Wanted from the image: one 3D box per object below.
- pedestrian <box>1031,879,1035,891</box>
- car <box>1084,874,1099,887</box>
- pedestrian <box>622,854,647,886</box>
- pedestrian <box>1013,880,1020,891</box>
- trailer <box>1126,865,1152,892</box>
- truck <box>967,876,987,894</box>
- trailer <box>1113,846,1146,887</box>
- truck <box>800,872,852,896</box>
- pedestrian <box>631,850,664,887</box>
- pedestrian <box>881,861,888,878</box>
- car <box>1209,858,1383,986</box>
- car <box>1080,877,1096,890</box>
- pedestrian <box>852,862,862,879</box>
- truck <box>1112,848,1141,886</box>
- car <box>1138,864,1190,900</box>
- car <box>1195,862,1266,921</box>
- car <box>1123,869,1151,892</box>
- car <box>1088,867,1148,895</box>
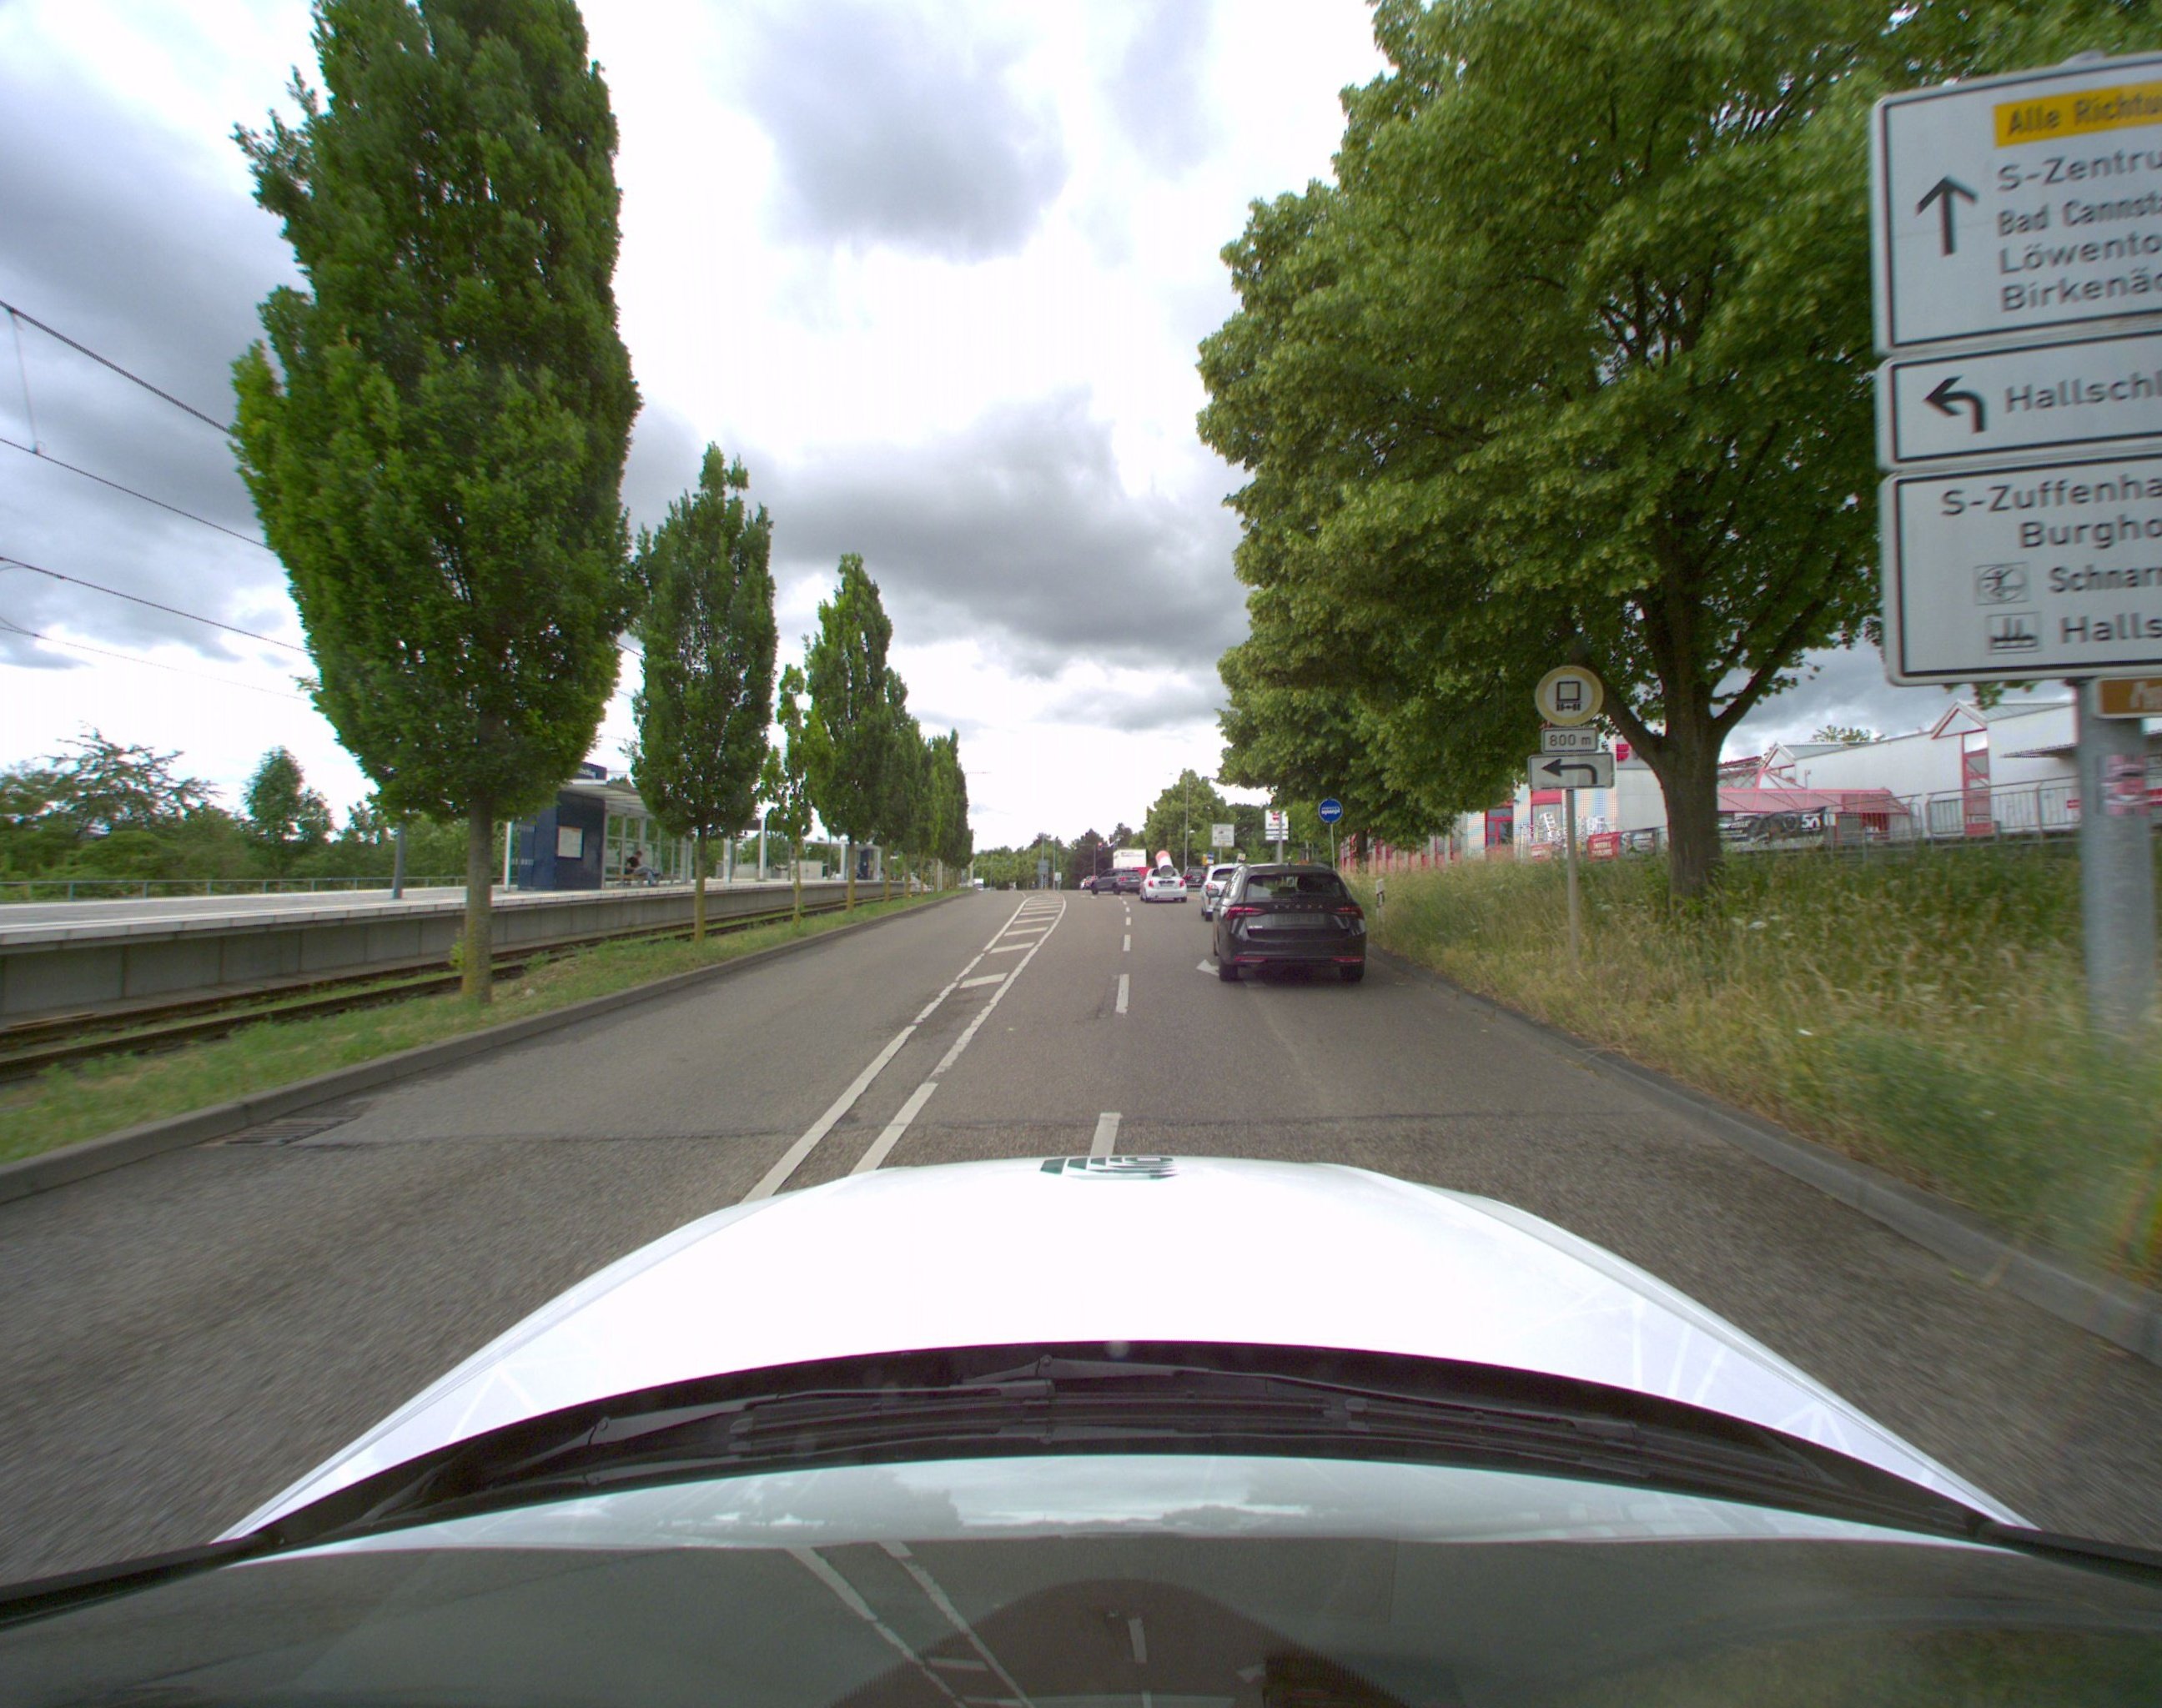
[{"bbox_3d":[-6.620,4.223,111.792,0.585,1.621,0.422,-1,0,-4],"label":"pedestrian"},{"bbox_3d":[1.169,2.966,90.730,1.520,1.354,3.491,-1,0,1],"label":"car"},{"bbox_3d":[-15.333,0.543,27.962,0.605,1.079,0.470,-1,0,-3],"label":"pedestrian"},{"bbox_3d":[-8.756,4.255,110.444,0.862,1.560,0.517,-1,0,-4],"label":"pedestrian"},{"bbox_3d":[3.571,1.512,50.487,1.404,1.594,3.304,-1,-2,1],"label":"trailer"},{"bbox_3d":[-21.793,6.499,170.823,2.666,3.649,9.449,2,-2,-16],"label":"truck"},{"bbox_3d":[4.594,1.256,78.159,2.558,3.706,7.758,-1,-2,-1],"label":"trailer"},{"bbox_3d":[-40.233,4.787,128.656,7.213,3.599,2.693,-1,0,1],"label":"truck"},{"bbox_3d":[-14.575,0.492,27.395,0.759,1.199,0.664,-1,-1,-3],"label":"pedestrian"},{"bbox_3d":[-20.761,1.618,85.998,0.571,1.828,0.791,0,-3,-6],"label":"pedestrian"},{"bbox_3d":[2.747,0.768,11.328,1.826,1.432,4.287,0,0,8],"label":"car"},{"bbox_3d":[0.850,3.653,100.004,1.717,1.422,4.352,-1,-3,-2],"label":"car"},{"bbox_3d":[-17.460,1.278,63.440,0.609,1.269,0.658,-1,0,-7],"label":"pedestrian"},{"bbox_3d":[4.513,1.355,82.118,2.564,3.706,4.102,-1,-2,-2],"label":"truck"},{"bbox_3d":[3.457,1.176,34.459,1.714,1.457,3.694,0,-2,-1],"label":"car"},{"bbox_3d":[4.000,0.955,22.264,1.615,1.457,3.695,-1,0,6],"label":"car"},{"bbox_3d":[3.695,1.784,54.380,1.665,1.448,4.490,-1,-2,2],"label":"car"},{"bbox_3d":[2.076,1.522,46.927,1.707,1.486,3.965,0,0,-27],"label":"car"}]
